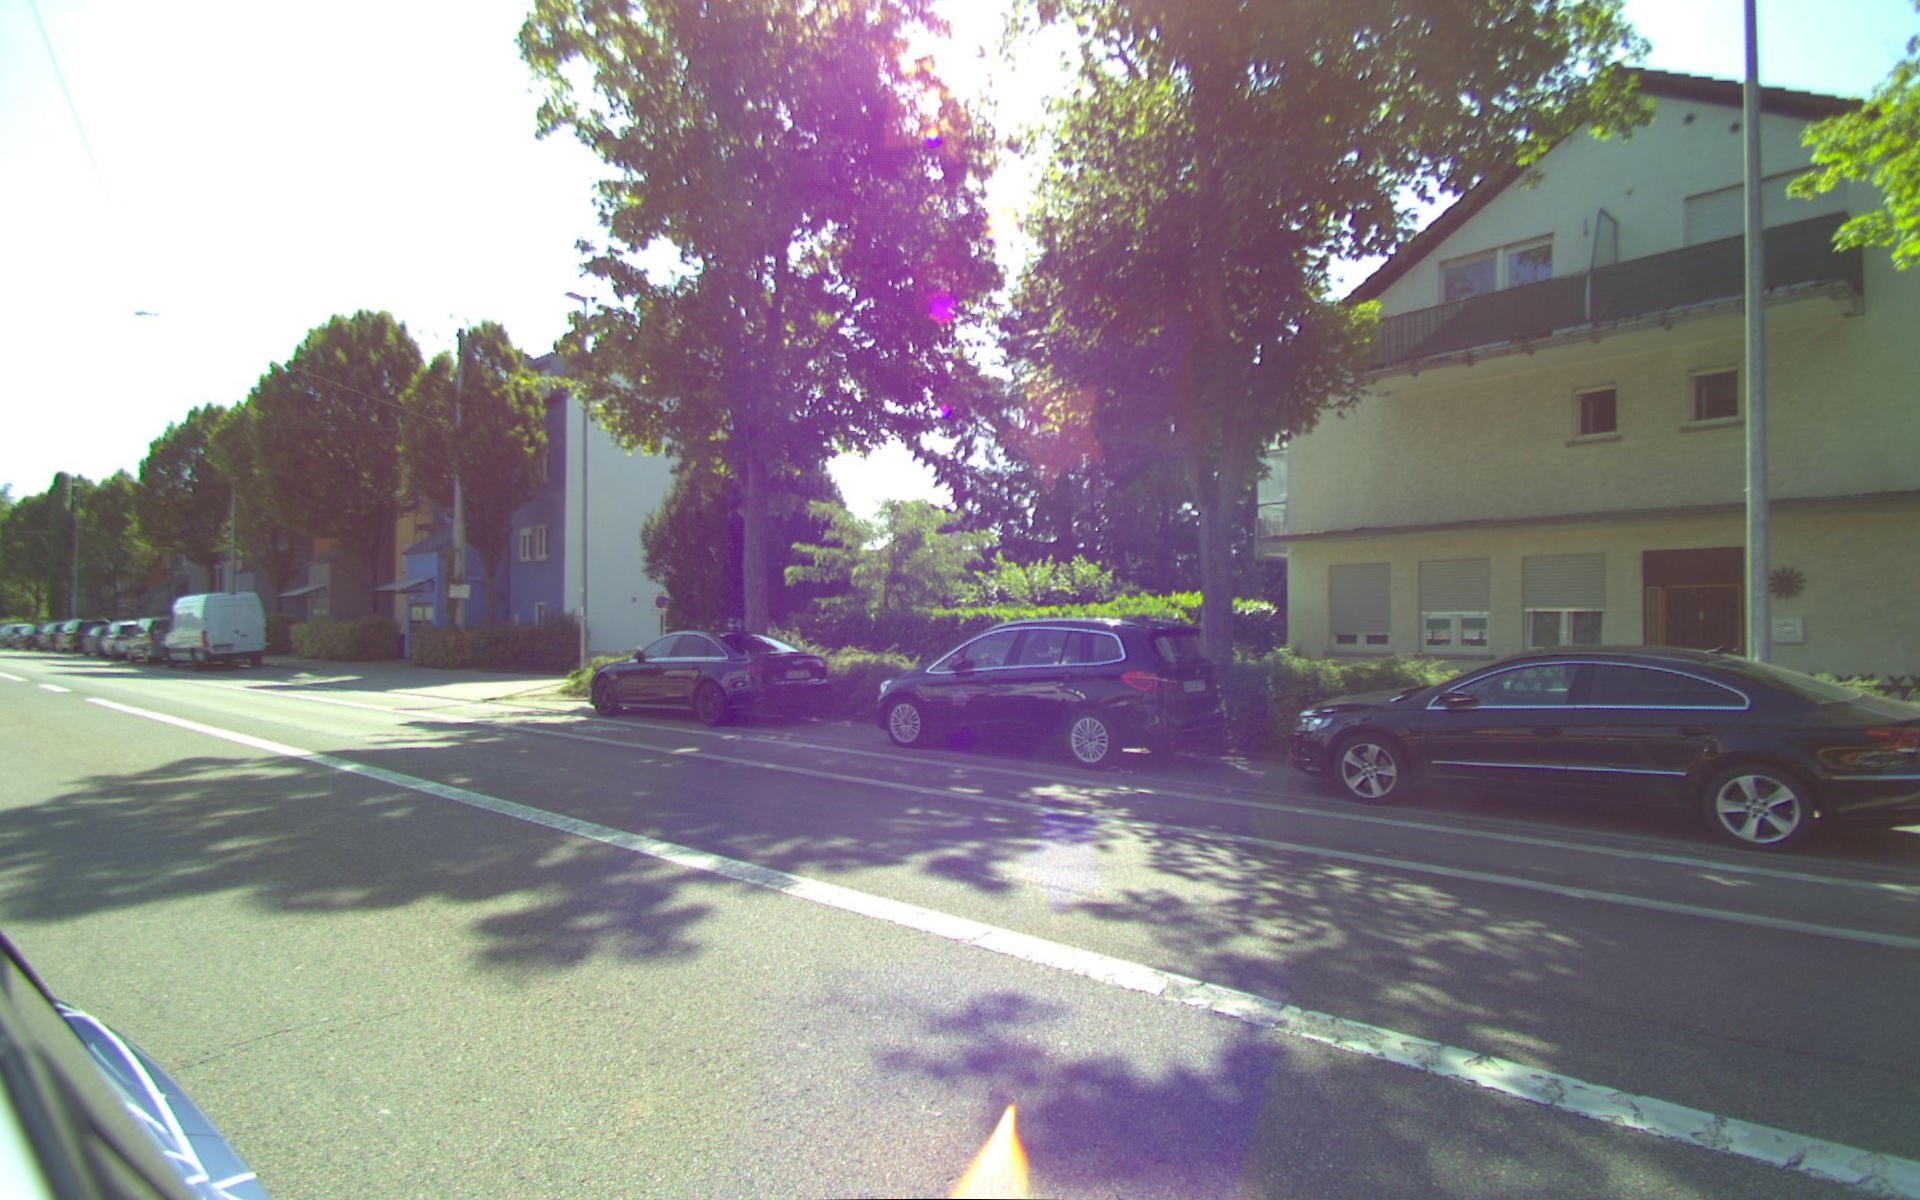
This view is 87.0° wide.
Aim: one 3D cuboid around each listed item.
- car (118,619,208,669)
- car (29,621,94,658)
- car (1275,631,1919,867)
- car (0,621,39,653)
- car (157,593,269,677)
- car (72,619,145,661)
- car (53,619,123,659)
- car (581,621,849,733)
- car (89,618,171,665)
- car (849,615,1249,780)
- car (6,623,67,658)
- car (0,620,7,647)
[{"bbox_3d":[-33.512,1.805,42.528,4.766,1.818,1.974,-2,4,41],"label":"car"},{"bbox_3d":[-50.285,2.195,56.630,4.766,1.818,1.974,-2,4,41],"label":"car"},{"bbox_3d":[5.228,1.009,8.422,4.619,1.426,1.844,-1,0,41],"label":"car"},{"bbox_3d":[-60.269,2.351,64.216,4.766,1.818,1.974,-2,4,41],"label":"car"},{"bbox_3d":[-27.370,1.234,36.974,6.213,2.713,1.973,-2,4,43],"label":"car"},{"bbox_3d":[-42.115,1.942,50.025,4.254,1.818,1.974,-2,4,41],"label":"car"},{"bbox_3d":[-45.812,2.034,53.139,4.766,1.818,1.974,-2,4,41],"label":"car"},{"bbox_3d":[-4.095,1.153,16.513,4.616,1.583,1.845,-1,-2,39],"label":"car"},{"bbox_3d":[-38.025,1.871,46.309,4.766,1.818,1.974,-2,4,41],"label":"car"},{"bbox_3d":[0.916,1.015,12.242,4.619,1.583,1.844,-1,0,41],"label":"car"},{"bbox_3d":[-54.887,2.370,60.141,4.766,1.818,1.974,-2,4,41],"label":"car"},{"bbox_3d":[-68.765,2.457,71.096,4.766,1.818,1.974,-2,4,41],"label":"car"}]
